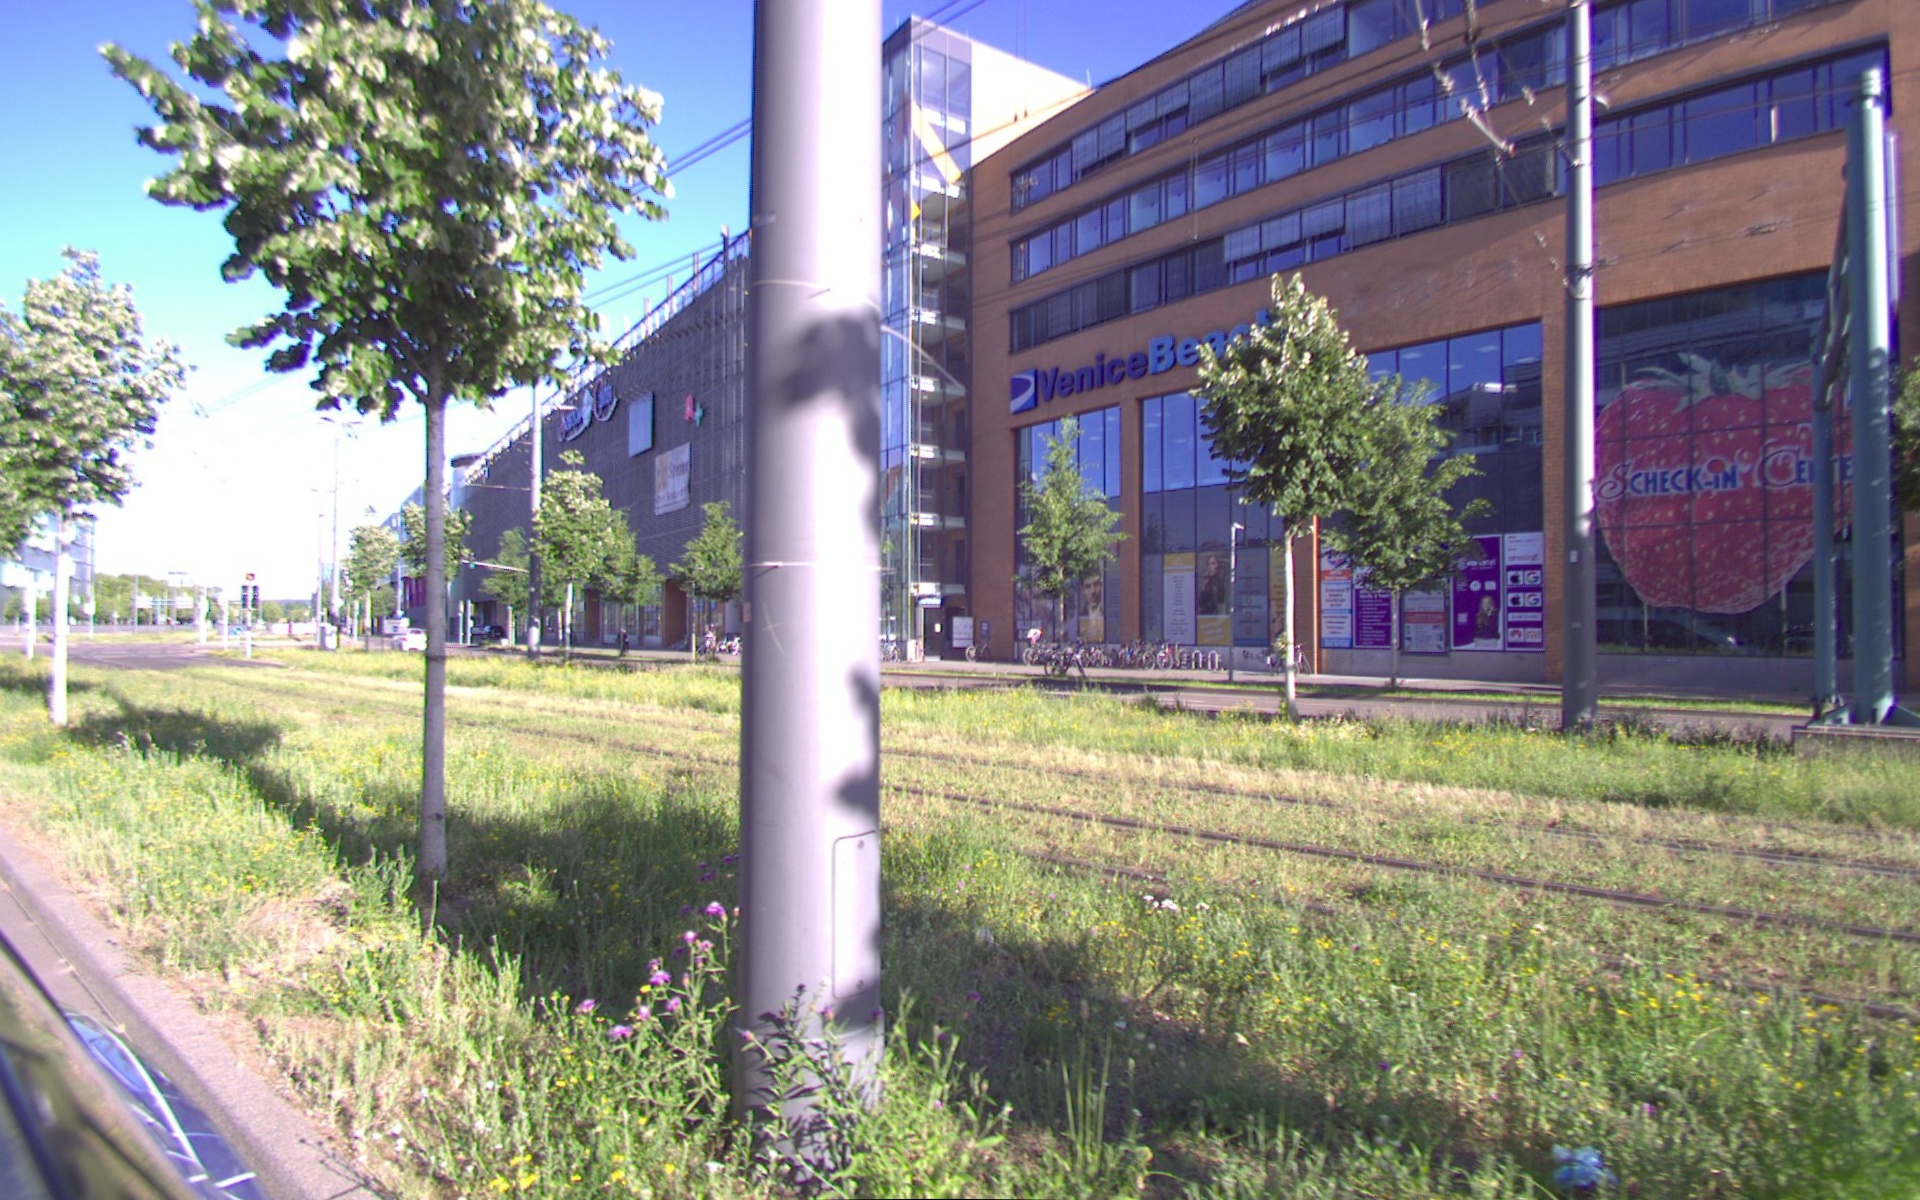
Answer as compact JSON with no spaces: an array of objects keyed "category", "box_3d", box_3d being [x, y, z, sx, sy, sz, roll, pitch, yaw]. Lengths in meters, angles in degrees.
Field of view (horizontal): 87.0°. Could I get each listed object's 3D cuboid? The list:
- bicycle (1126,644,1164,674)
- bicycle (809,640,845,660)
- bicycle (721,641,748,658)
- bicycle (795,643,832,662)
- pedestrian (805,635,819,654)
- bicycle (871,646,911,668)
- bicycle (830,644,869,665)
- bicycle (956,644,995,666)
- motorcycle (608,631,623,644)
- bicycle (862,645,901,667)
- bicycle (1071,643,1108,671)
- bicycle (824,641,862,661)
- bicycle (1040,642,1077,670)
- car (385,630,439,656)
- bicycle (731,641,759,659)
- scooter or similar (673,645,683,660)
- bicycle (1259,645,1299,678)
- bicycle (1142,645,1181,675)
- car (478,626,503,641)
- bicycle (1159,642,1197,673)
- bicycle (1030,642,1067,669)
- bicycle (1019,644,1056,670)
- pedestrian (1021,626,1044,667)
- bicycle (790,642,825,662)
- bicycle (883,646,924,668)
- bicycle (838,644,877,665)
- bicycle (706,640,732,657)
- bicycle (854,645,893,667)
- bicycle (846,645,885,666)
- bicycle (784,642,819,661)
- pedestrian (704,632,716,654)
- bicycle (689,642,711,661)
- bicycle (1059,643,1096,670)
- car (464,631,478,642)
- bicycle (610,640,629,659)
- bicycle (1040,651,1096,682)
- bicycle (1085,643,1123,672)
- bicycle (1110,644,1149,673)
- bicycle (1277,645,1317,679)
[{"category":"bicycle","box_3d":[6.910,2.199,37.770,1.745,1.057,0.491,2,-2,-44]},{"category":"bicycle","box_3d":[-6.489,2.421,49.437,1.742,0.933,0.492,1,-2,-35]},{"category":"bicycle","box_3d":[-12.472,2.734,56.079,1.377,0.933,0.463,1,-2,-35]},{"category":"bicycle","box_3d":[-7.305,2.604,50.426,1.742,0.933,0.566,1,-2,-35]},{"category":"pedestrian","box_3d":[-8.259,2.490,56.411,0.620,1.063,0.450,1,-2,-39]},{"category":"bicycle","box_3d":[-3.041,2.512,44.743,1.742,0.933,0.566,1,-2,-35]},{"category":"bicycle","box_3d":[-5.208,2.559,47.763,1.742,0.933,0.566,1,-2,-35]},{"category":"bicycle","box_3d":[0.705,2.462,45.231,1.742,0.933,0.566,1,-2,-35]},{"category":"motorcycle","box_3d":[-24.211,2.639,71.073,0.421,0.927,2.029,1,-2,-36]},{"category":"bicycle","box_3d":[-3.520,2.522,45.433,1.742,0.933,0.566,1,-2,-35]},{"category":"bicycle","box_3d":[5.105,2.236,39.801,1.745,1.057,0.491,2,-2,-44]},{"category":"bicycle","box_3d":[-5.578,2.428,48.326,1.742,0.933,0.492,1,-2,-35]},{"category":"bicycle","box_3d":[4.010,2.258,41.046,1.745,1.057,0.491,2,-2,-44]},{"category":"car","box_3d":[-29.534,2.285,54.441,1.783,1.338,4.413,2,-2,-39]},{"category":"bicycle","box_3d":[-11.660,2.715,54.859,1.377,0.933,0.463,1,-2,-35]},{"category":"scooter or similar","box_3d":[-17.711,3.298,63.530,0.286,0.900,0.903,1,-2,-35]},{"category":"bicycle","box_3d":[10.532,2.015,33.375,1.745,1.057,0.491,2,-2,-44]},{"category":"bicycle","box_3d":[7.428,2.189,37.199,1.745,1.057,0.491,2,-2,-44]},{"category":"car","box_3d":[-49.063,3.501,105.703,1.560,1.541,3.757,0,-1,-39]},{"category":"bicycle","box_3d":[7.909,2.070,36.680,1.745,1.057,0.491,2,-2,-44]},{"category":"bicycle","box_3d":[3.629,2.265,41.464,1.745,1.057,0.491,2,-2,-44]},{"category":"bicycle","box_3d":[3.215,2.350,41.852,1.745,1.057,0.491,2,-2,-44]},{"category":"pedestrian","box_3d":[3.024,1.918,42.247,0.676,1.681,0.736,-2,-2,45]},{"category":"bicycle","box_3d":[-7.673,2.612,50.996,1.742,0.933,0.492,1,-2,-35]},{"category":"bicycle","box_3d":[-2.460,2.469,43.920,1.742,0.933,0.566,1,-2,-35]},{"category":"bicycle","box_3d":[-4.776,2.550,47.155,1.742,0.933,0.566,1,-2,-35]},{"category":"bicycle","box_3d":[-13.550,2.736,56.865,1.377,0.933,0.463,1,-2,-35]},{"category":"bicycle","box_3d":[-3.935,2.532,46.027,1.742,0.933,0.566,1,-2,-35]},{"category":"bicycle","box_3d":[-4.337,2.541,46.598,1.742,0.933,0.566,1,-2,-35]},{"category":"bicycle","box_3d":[-8.064,2.626,51.503,1.742,0.933,0.492,1,-2,-35]},{"category":"pedestrian","box_3d":[-14.419,2.477,58.332,0.442,1.299,0.631,1,-2,-39]},{"category":"bicycle","box_3d":[-12.798,2.515,49.821,0.380,0.875,1.775,1,-2,-39]},{"category":"bicycle","box_3d":[4.681,2.245,40.344,1.745,1.057,0.491,2,-2,-44]},{"category":"car","box_3d":[-64.756,4.871,134.040,1.663,1.382,3.602,1,-2,-26]},{"category":"bicycle","box_3d":[-17.584,2.543,52.250,0.380,0.930,1.775,1,-2,-39]},{"category":"bicycle","box_3d":[3.328,2.046,31.301,1.769,0.875,0.458,-1,-2,39]},{"category":"bicycle","box_3d":[5.616,2.226,39.294,1.745,1.057,0.491,2,-2,-44]},{"category":"bicycle","box_3d":[6.407,2.209,38.234,1.745,1.057,0.491,2,-2,-44]},{"category":"bicycle","box_3d":[11.006,2.006,32.994,1.745,1.057,0.491,2,-2,-44]}]
